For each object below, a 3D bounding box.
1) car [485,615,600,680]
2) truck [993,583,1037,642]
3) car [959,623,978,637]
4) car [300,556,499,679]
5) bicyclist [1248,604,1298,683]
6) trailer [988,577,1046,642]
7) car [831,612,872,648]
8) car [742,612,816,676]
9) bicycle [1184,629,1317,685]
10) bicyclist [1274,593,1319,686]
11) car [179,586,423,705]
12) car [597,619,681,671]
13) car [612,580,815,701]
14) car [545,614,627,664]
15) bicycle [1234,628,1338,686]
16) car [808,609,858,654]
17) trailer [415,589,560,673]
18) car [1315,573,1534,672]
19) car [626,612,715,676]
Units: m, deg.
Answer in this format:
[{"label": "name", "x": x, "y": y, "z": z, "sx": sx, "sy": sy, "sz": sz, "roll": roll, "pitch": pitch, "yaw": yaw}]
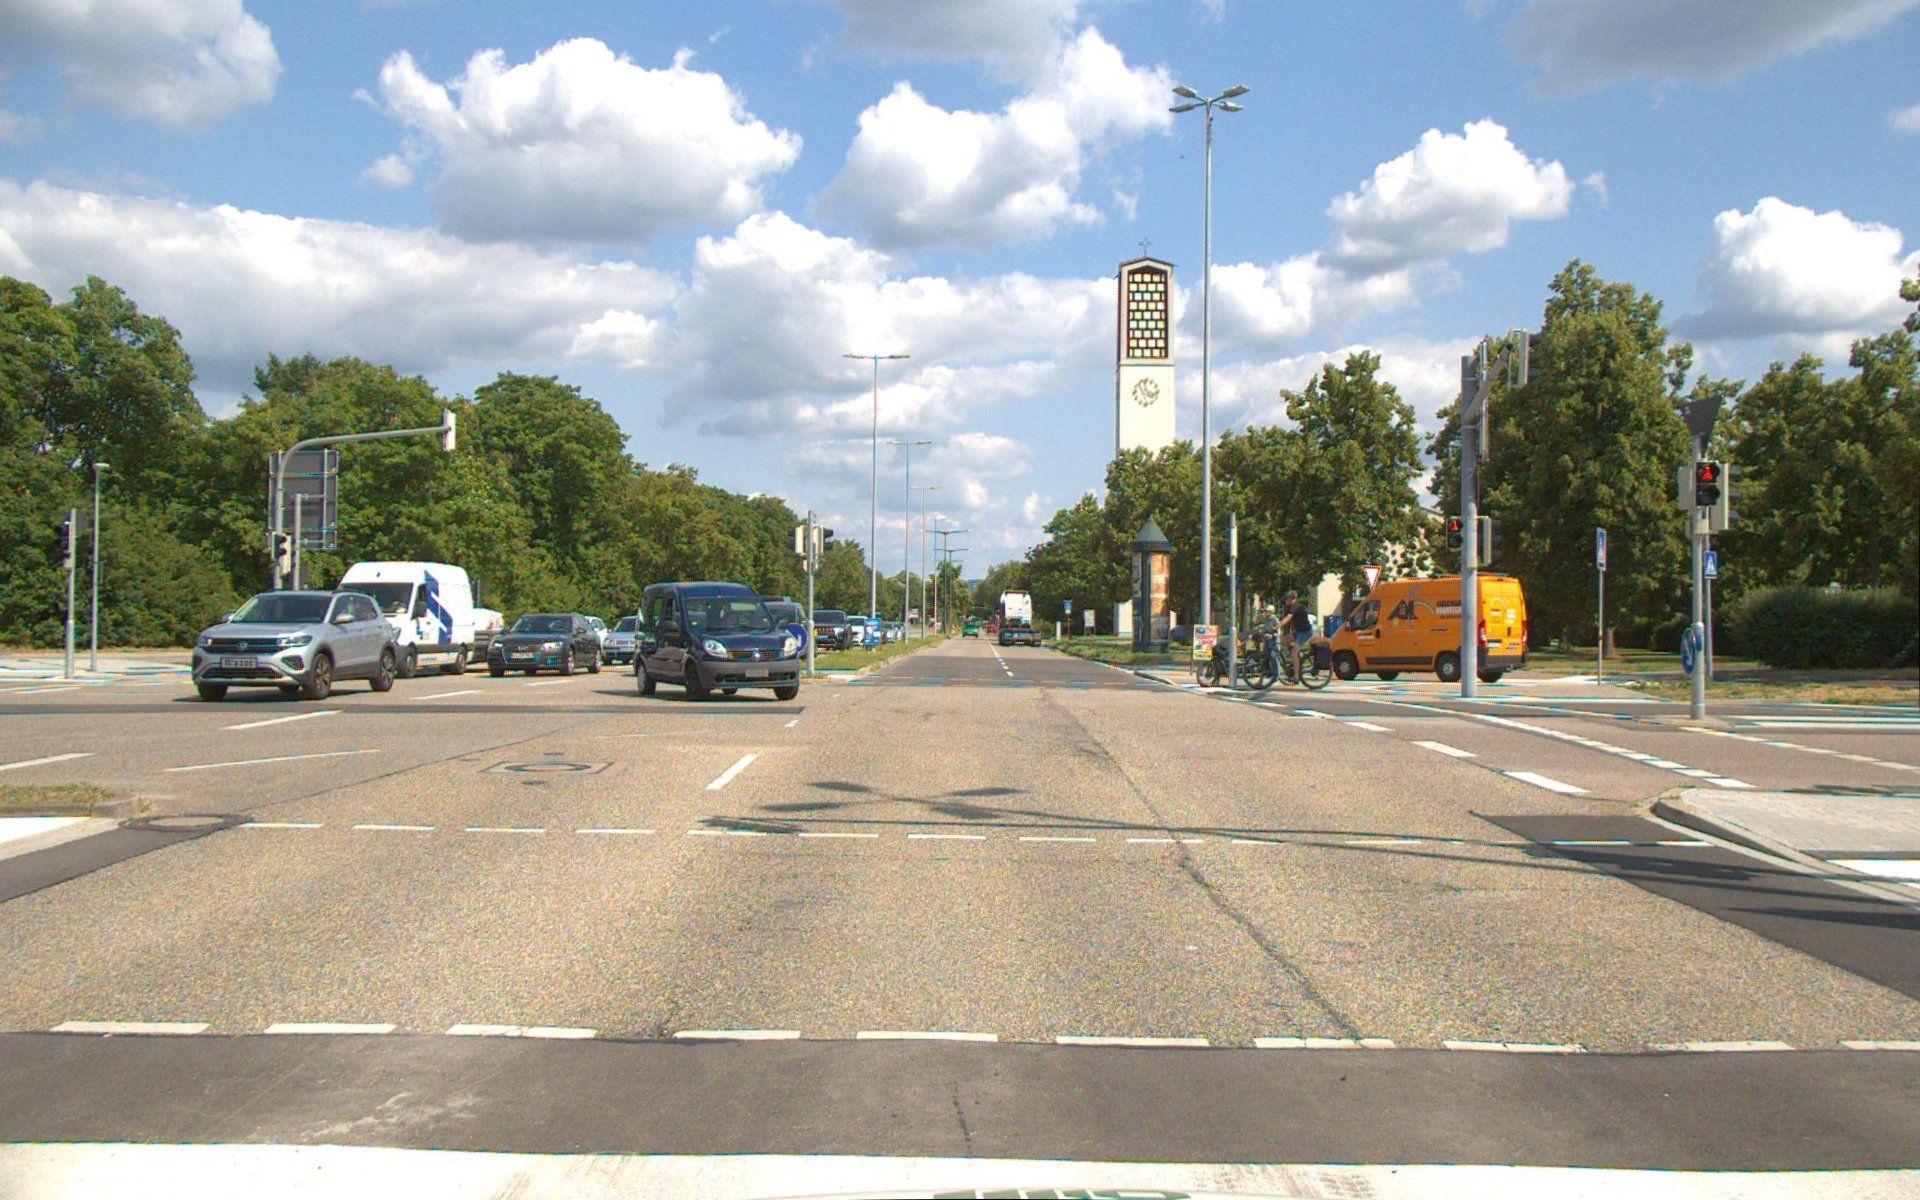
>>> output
[{"label": "car", "x": -9.406, "y": 1.054, "z": 37.518, "sx": 1.728, "sy": 1.375, "sz": 3.518, "roll": 1, "pitch": -1, "yaw": -1}, {"label": "truck", "x": 4.032, "y": 0.963, "z": 119.545, "sx": 2.897, "sy": 4.040, "sz": 8.640, "roll": 1, "pitch": -1, "yaw": 3}, {"label": "car", "x": 0.926, "y": 3.367, "z": 185.767, "sx": 1.953, "sy": 1.579, "sz": 3.999, "roll": 2, "pitch": -1, "yaw": -1}, {"label": "car", "x": -12.688, "y": 0.417, "z": 37.936, "sx": 2.128, "sy": 2.514, "sz": 5.969, "roll": 2, "pitch": -1, "yaw": 3}, {"label": "bicyclist", "x": 6.608, "y": 0.905, "z": 34.921, "sx": 0.689, "sy": 1.644, "sz": 0.791, "roll": 1, "pitch": -1, "yaw": -24}, {"label": "trailer", "x": 3.921, "y": 0.761, "z": 111.472, "sx": 3.544, "sy": 4.082, "sz": 11.322, "roll": 1, "pitch": -1, "yaw": 3}, {"label": "car", "x": -5.339, "y": 1.471, "z": 81.864, "sx": 1.699, "sy": 1.689, "sz": 4.230, "roll": 2, "pitch": -1, "yaw": 0}, {"label": "car", "x": -5.299, "y": 1.268, "z": 48.843, "sx": 1.699, "sy": 1.689, "sz": 4.230, "roll": 2, "pitch": 0, "yaw": -1}, {"label": "bicycle", "x": 6.105, "y": 1.193, "z": 34.692, "sx": 2.796, "sy": 1.131, "sz": 0.791, "roll": 1, "pitch": 0, "yaw": -25}, {"label": "bicyclist", "x": 6.721, "y": 0.789, "z": 33.085, "sx": 0.770, "sy": 1.836, "sz": 0.686, "roll": 1, "pitch": -1, "yaw": 2}, {"label": "car", "x": -9.807, "y": 0.666, "z": 25.017, "sx": 1.698, "sy": 1.570, "sz": 4.310, "roll": 2, "pitch": -1, "yaw": 3}, {"label": "car", "x": -9.448, "y": 1.306, "z": 48.926, "sx": 1.690, "sy": 1.422, "sz": 3.999, "roll": 2, "pitch": -1, "yaw": -1}, {"label": "car", "x": -3.890, "y": 0.582, "z": 25.529, "sx": 1.715, "sy": 1.689, "sz": 4.191, "roll": 3, "pitch": -1, "yaw": -29}, {"label": "car", "x": -12.411, "y": 1.284, "z": 55.152, "sx": 1.820, "sy": 1.539, "sz": 3.999, "roll": 2, "pitch": -1, "yaw": -1}, {"label": "bicycle", "x": 6.516, "y": 1.132, "z": 33.094, "sx": 1.955, "sy": 1.113, "sz": 0.686, "roll": 1, "pitch": -1, "yaw": 2}, {"label": "car", "x": -5.169, "y": 1.279, "z": 67.809, "sx": 1.699, "sy": 1.689, "sz": 4.230, "roll": 2, "pitch": -1, "yaw": -1}, {"label": "trailer", "x": -12.600, "y": 0.825, "z": 44.490, "sx": 2.080, "sy": 2.049, "sz": 5.163, "roll": 2, "pitch": -1, "yaw": 3}, {"label": "car", "x": 11.402, "y": 0.525, "z": 40.840, "sx": 2.191, "sy": 2.265, "sz": 4.789, "roll": 3, "pitch": -1, "yaw": -40}, {"label": "car", "x": -6.561, "y": 0.986, "z": 37.750, "sx": 1.537, "sy": 1.339, "sz": 3.430, "roll": 2, "pitch": -1, "yaw": -3}]
